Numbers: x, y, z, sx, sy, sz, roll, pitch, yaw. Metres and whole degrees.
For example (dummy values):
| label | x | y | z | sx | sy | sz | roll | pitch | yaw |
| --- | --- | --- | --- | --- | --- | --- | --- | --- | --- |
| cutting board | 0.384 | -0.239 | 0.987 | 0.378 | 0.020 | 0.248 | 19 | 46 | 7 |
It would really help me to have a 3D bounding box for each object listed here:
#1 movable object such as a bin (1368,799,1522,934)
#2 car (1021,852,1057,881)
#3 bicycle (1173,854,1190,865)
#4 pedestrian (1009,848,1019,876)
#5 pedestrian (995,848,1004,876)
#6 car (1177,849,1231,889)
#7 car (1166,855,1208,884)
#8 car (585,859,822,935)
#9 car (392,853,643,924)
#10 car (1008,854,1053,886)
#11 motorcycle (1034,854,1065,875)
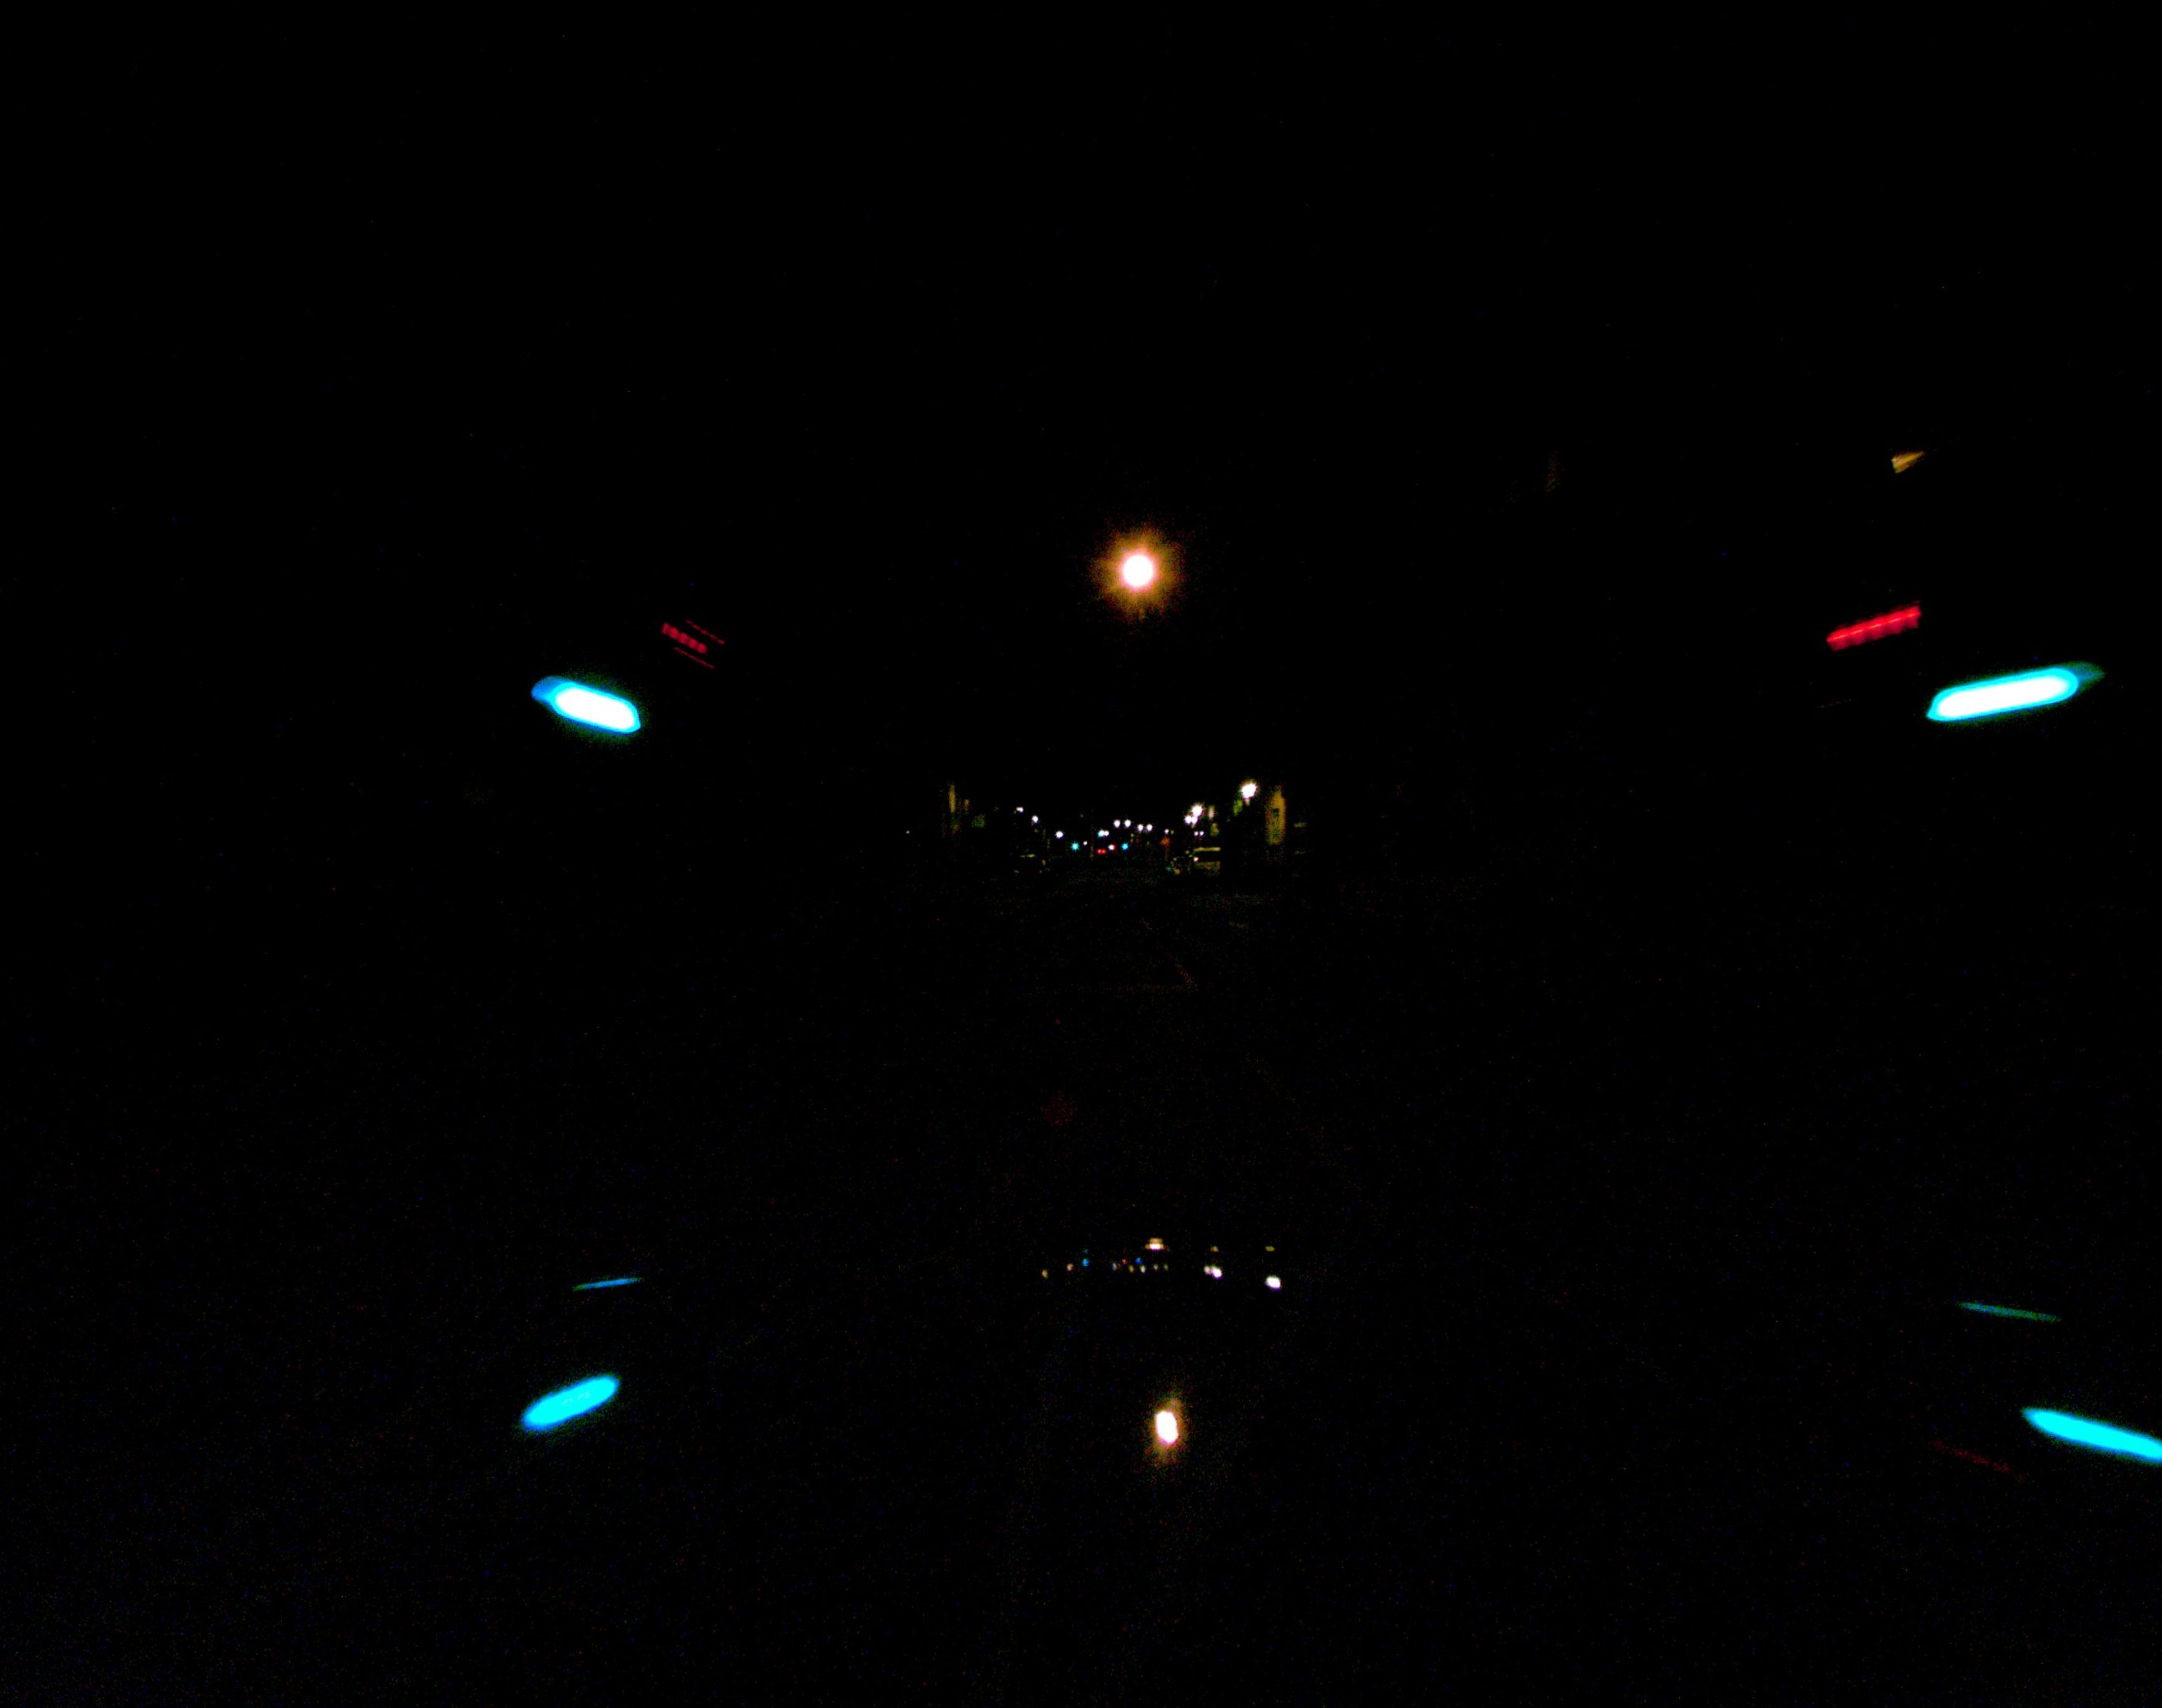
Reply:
| label | x | y | z | sx | sy | sz | roll | pitch | yaw |
| --- | --- | --- | --- | --- | --- | --- | --- | --- | --- |
| movable object such as a bin | 7.767 | 0.225 | 16.651 | 1.575 | 2.611 | 3.910 | 0 | 1 | 2 |
| car | -2.291 | 0.654 | 42.771 | 1.737 | 1.492 | 4.466 | 2 | 0 | 0 |
| bicycle | 10.942 | 0.601 | 82.604 | 1.783 | 1.144 | 0.761 | 1 | 1 | 43 |
| pedestrian | -4.063 | 0.481 | 45.949 | 0.508 | 1.699 | 0.705 | 0 | 1 | 2 |
| pedestrian | -4.951 | 0.484 | 45.997 | 0.477 | 1.699 | 0.571 | 0 | 1 | 2 |
| car | 6.018 | 0.695 | 37.614 | 1.887 | 1.832 | 4.814 | -1 | 1 | 0 |
| car | 5.969 | 0.848 | 43.227 | 1.843 | 1.441 | 4.881 | -1 | 1 | 2 |
| car | -7.782 | 0.859 | 15.978 | 4.024 | 1.414 | 1.851 | 0 | 2 | -1 |
| car | -12.517 | 0.738 | 17.099 | 4.203 | 1.459 | 1.851 | 0 | 1 | -2 |
| car | -2.453 | 0.744 | 37.570 | 1.740 | 1.446 | 4.000 | 0 | 1 | 3 |
| motorcycle | -2.106 | 0.694 | 50.905 | 1.948 | 1.345 | 0.761 | 0 | 1 | -34 |
